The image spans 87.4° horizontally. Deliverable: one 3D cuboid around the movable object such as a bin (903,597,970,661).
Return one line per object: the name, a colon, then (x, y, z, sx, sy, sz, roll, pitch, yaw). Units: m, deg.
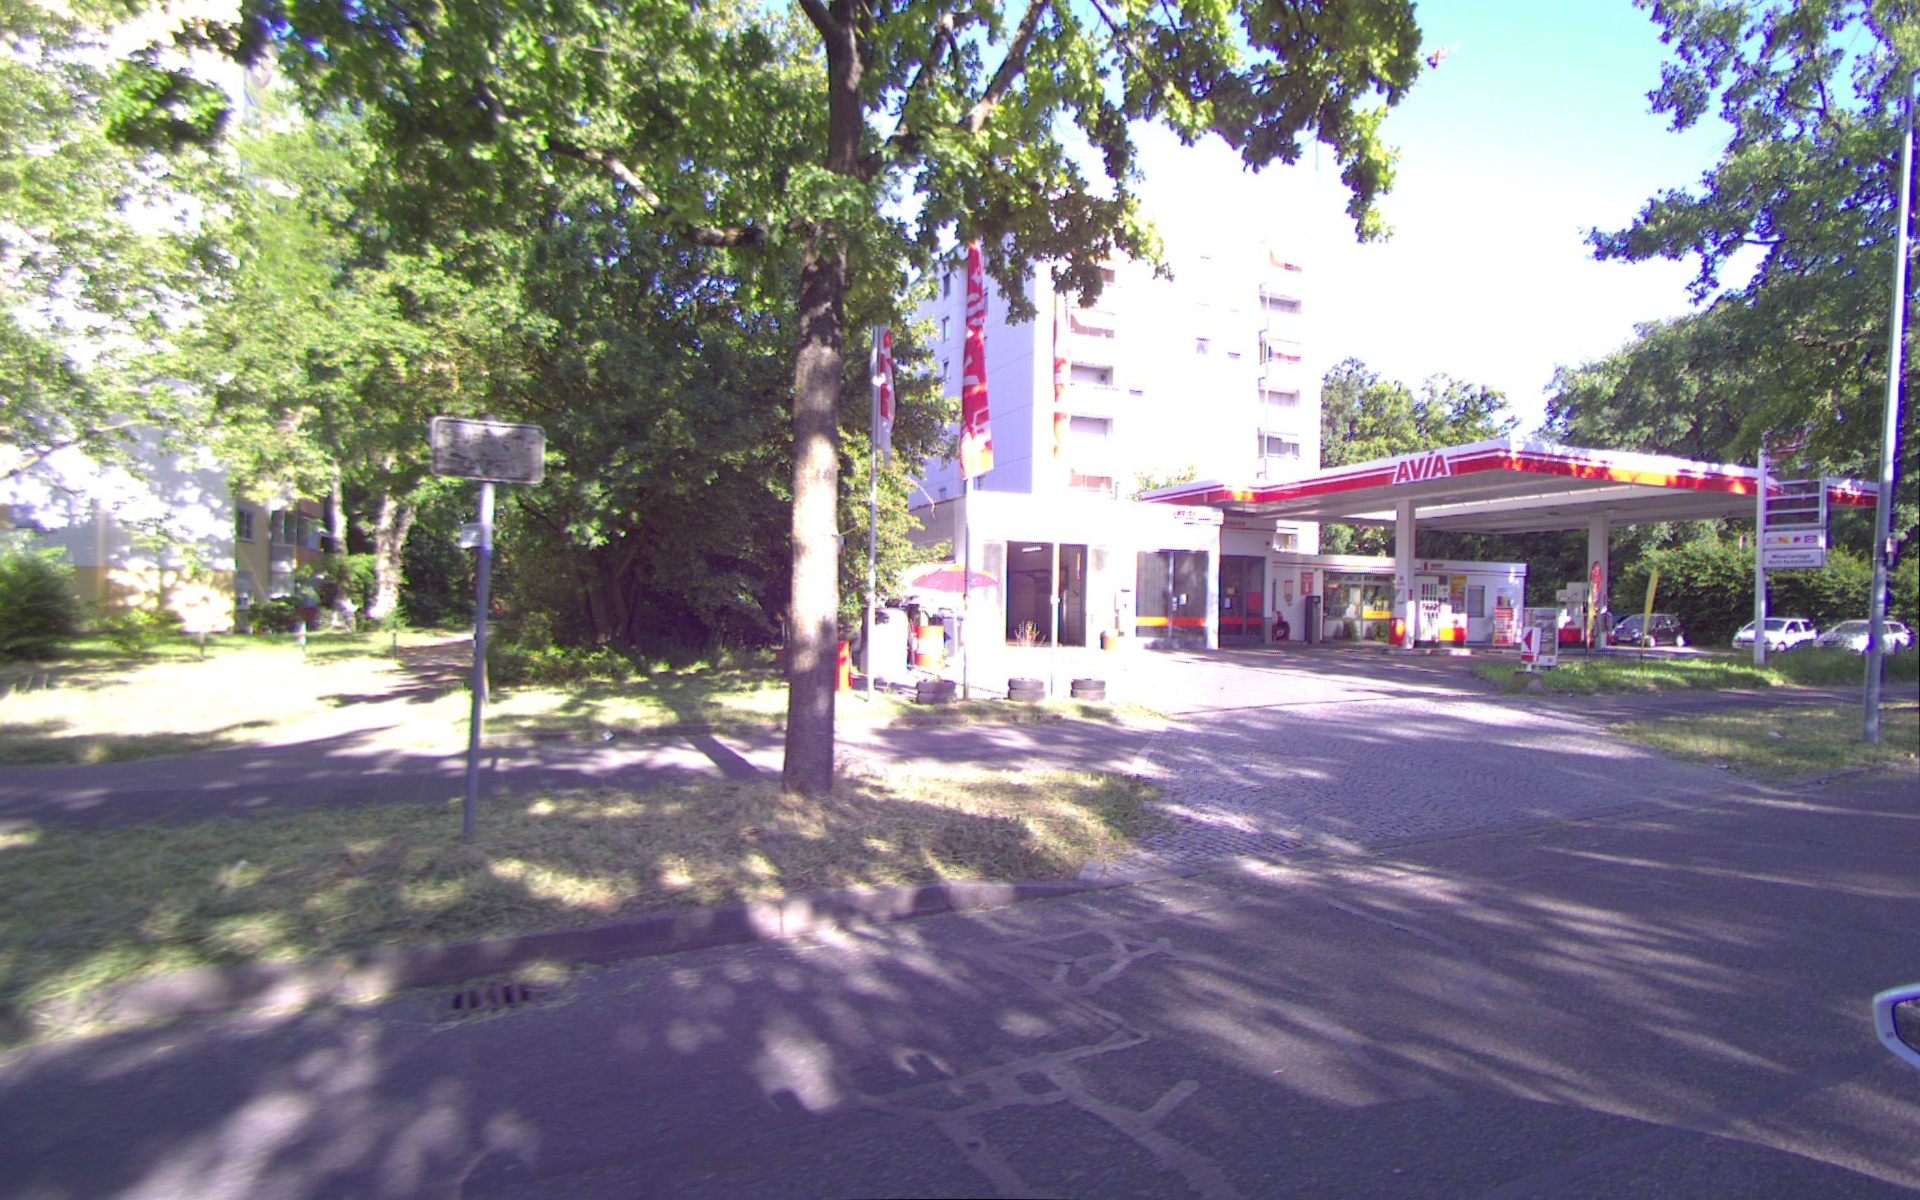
movable object such as a bin: (-0.595, 0.726, 25.421, 1.252, 1.562, 1.299, 1, 0, -28)

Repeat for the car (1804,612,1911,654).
car: (33.482, 1.217, 37.485, 3.435, 1.441, 1.543, 1, 1, -21)

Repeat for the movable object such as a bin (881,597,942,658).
movable object such as a bin: (-1.292, 0.715, 26.583, 1.149, 1.562, 1.299, 1, 1, -28)

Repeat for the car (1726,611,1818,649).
car: (32.102, 1.173, 39.721, 3.157, 1.386, 1.420, 1, 1, -21)

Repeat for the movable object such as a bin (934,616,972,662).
movable object such as a bin: (-0.175, 0.935, 24.525, 0.758, 1.100, 0.566, 1, 0, -28)

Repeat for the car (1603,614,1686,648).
car: (29.717, 1.359, 43.616, 3.157, 1.386, 1.420, 1, 1, -21)

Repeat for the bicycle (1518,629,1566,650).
bicycle: (23.548, 1.612, 40.671, 1.750, 0.818, 0.618, 1, 0, -14)
